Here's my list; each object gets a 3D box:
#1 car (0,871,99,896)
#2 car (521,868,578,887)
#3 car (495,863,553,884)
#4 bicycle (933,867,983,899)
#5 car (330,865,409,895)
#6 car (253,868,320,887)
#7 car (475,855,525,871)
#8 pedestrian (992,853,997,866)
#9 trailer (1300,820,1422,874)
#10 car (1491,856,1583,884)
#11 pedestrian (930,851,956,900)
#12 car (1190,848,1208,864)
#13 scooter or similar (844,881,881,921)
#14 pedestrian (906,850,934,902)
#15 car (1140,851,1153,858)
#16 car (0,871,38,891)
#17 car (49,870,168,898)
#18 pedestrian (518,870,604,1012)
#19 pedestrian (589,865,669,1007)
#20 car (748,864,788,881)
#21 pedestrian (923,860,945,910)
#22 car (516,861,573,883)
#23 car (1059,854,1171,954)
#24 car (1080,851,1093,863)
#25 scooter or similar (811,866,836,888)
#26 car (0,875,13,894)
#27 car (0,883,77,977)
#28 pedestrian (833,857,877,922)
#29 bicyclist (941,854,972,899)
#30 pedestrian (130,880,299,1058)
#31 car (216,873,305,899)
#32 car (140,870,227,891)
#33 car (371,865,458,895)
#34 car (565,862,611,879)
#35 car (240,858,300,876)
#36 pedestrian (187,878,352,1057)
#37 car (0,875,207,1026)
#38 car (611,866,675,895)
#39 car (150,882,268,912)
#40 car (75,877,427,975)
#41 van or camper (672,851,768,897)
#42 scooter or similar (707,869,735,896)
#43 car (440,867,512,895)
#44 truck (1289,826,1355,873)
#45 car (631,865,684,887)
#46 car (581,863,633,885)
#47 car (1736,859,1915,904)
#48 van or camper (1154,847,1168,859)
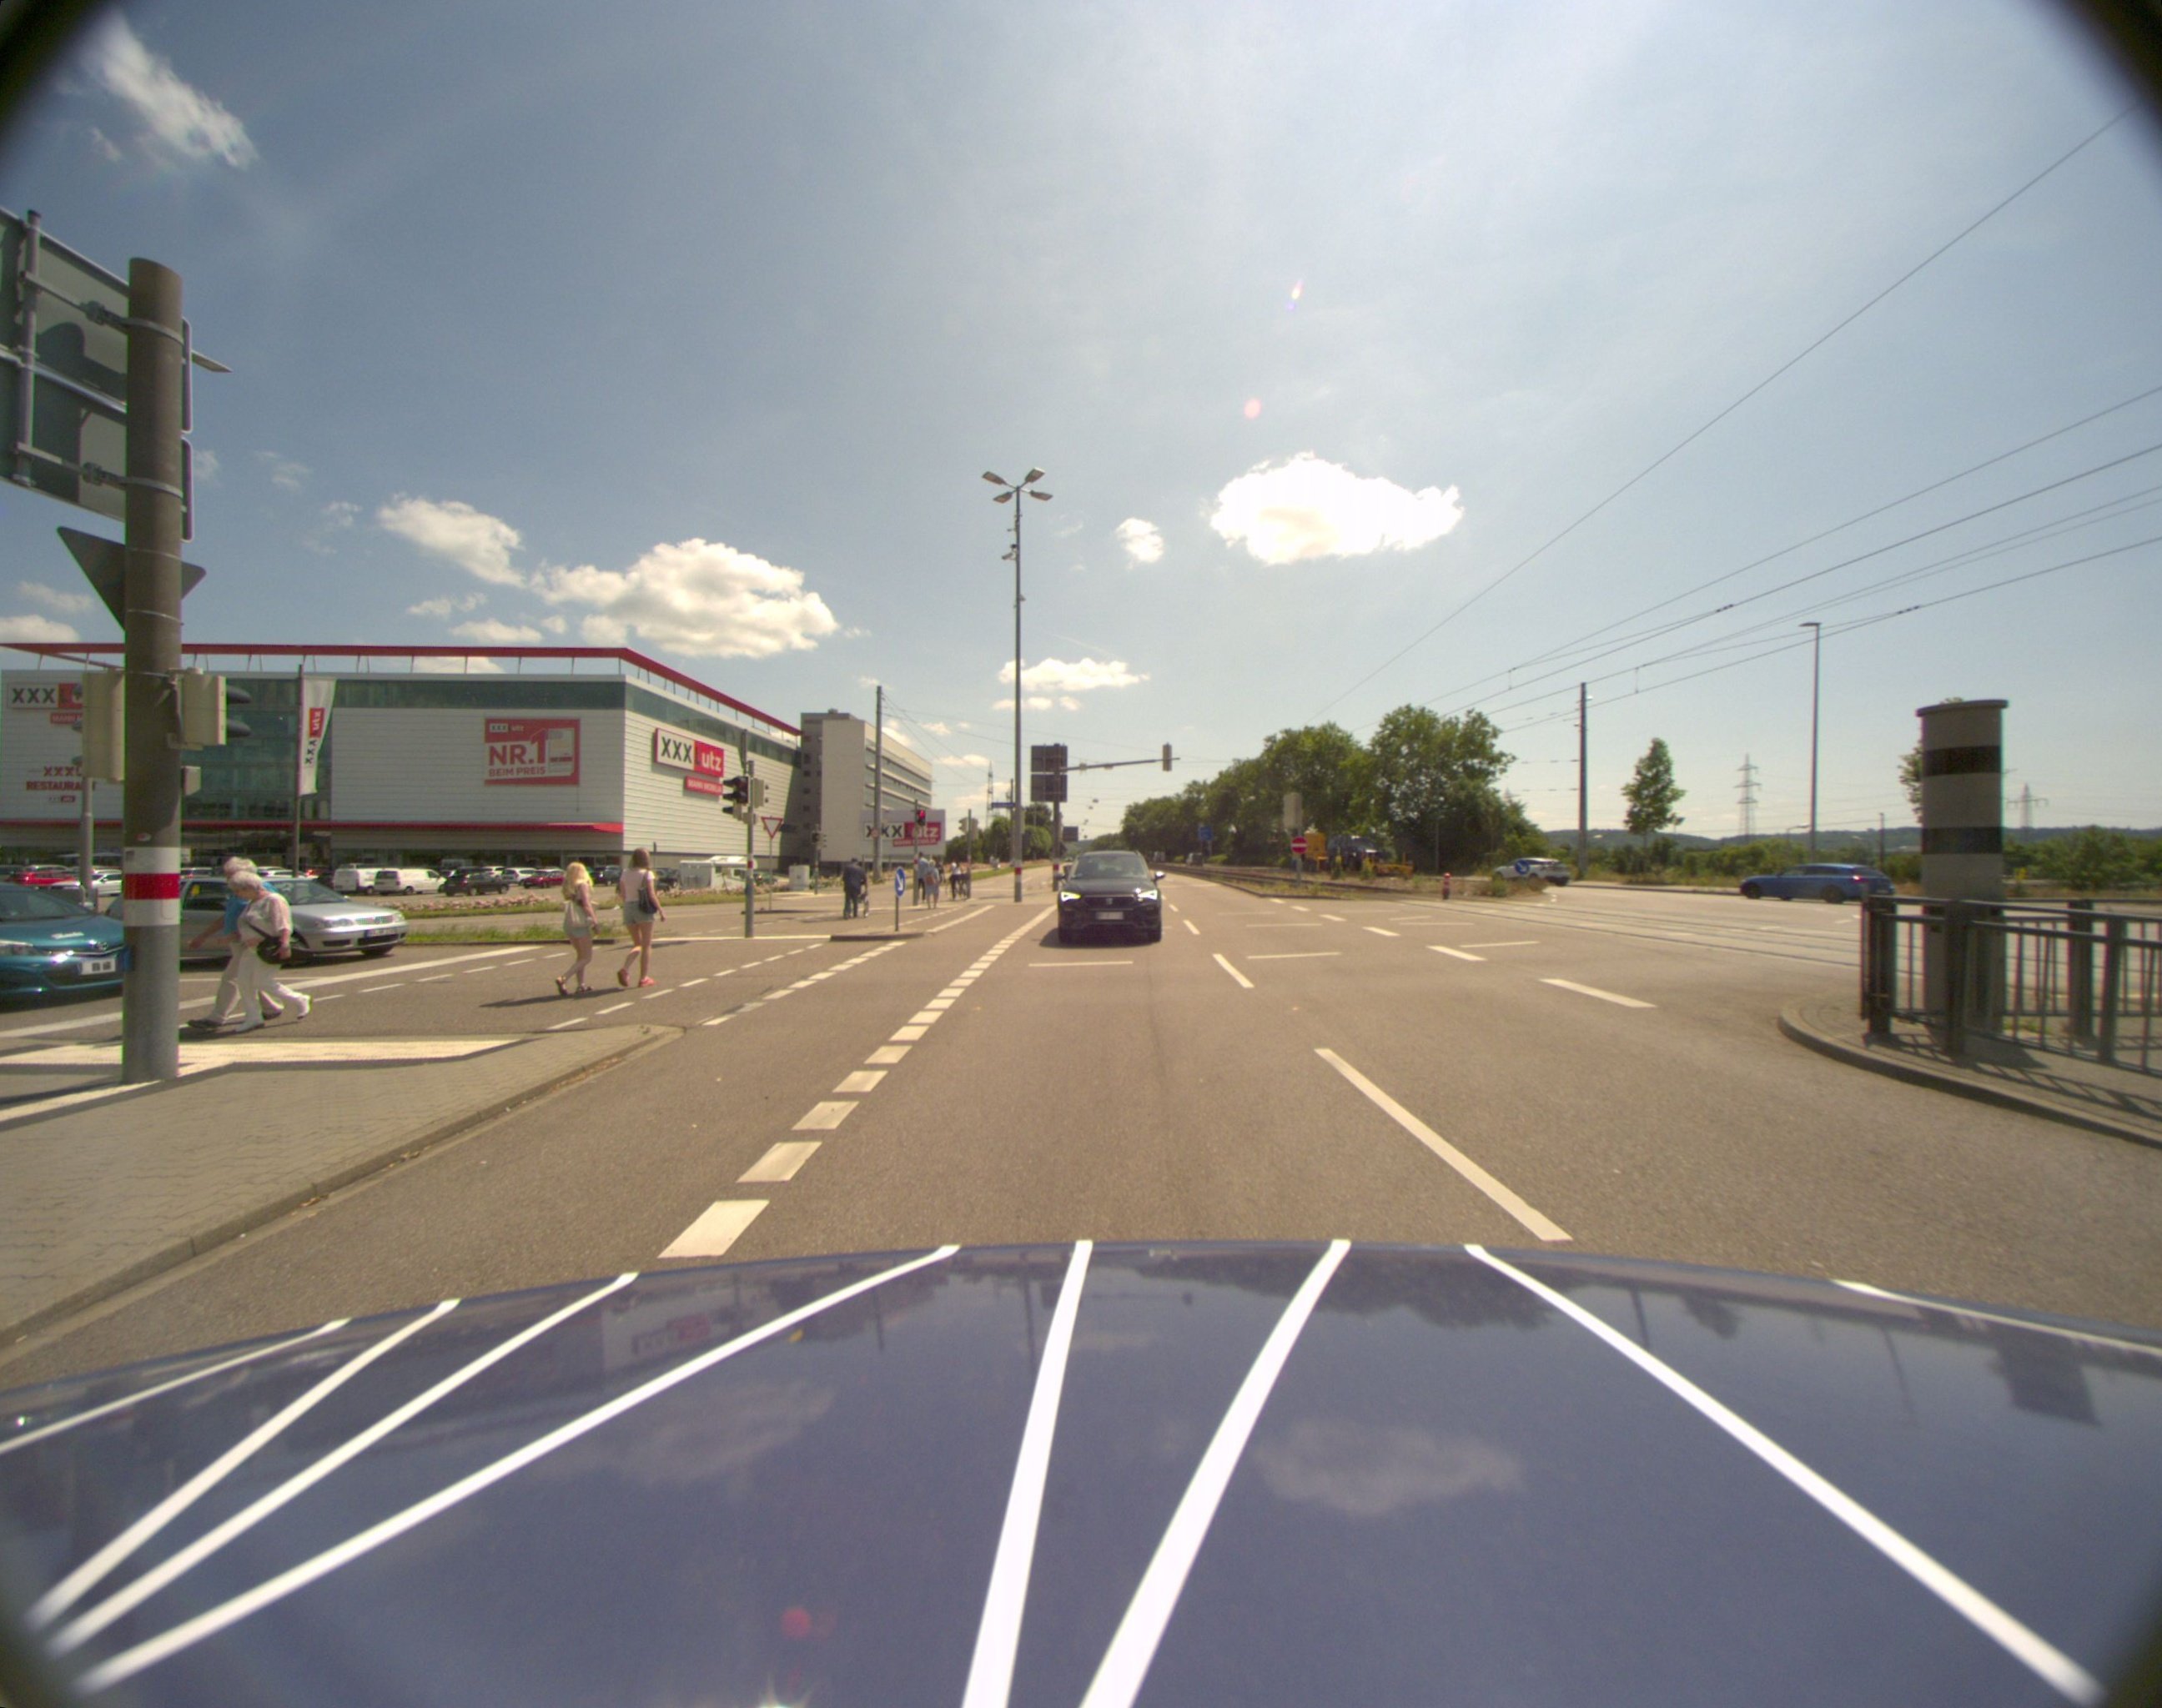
[{"bbox_3d":[-77.277,2.164,56.955,1.853,1.692,4.172,-1,0,3],"label":"car"},{"bbox_3d":[-47.135,2.117,67.492,1.859,1.403,4.259,3,-3,3],"label":"car"},{"bbox_3d":[-52.597,1.817,71.878,1.998,1.724,4.520,-1,0,1],"label":"car"},{"bbox_3d":[-4.685,1.077,28.951,1.873,1.155,0.833,-1,0,40],"label":"bicycle"},{"bbox_3d":[-52.556,1.893,56.243,1.998,2.002,4.000,-2,1,2],"label":"car"},{"bbox_3d":[-69.771,2.055,66.818,1.693,1.518,4.000,-1,0,0],"label":"car"},{"bbox_3d":[-63.618,0.986,83.272,1.999,1.683,4.519,-1,0,-1],"label":"car"},{"bbox_3d":[-11.692,0.778,102.845,0.518,1.783,0.634,-1,0,0],"label":"pedestrian"},{"bbox_3d":[22.492,-0.323,62.741,3.124,3.847,15.479,1,-1,-5],"label":"trailer"},{"bbox_3d":[24.970,0.840,41.800,2.000,1.454,4.275,-1,0,-10],"label":"car"},{"bbox_3d":[-5.105,0.779,28.137,0.807,1.749,0.796,-2,1,-19],"label":"pedestrian"},{"bbox_3d":[16.833,0.316,108.366,1.998,1.826,4.437,2,-4,2],"label":"car"},{"bbox_3d":[-5.953,1.276,20.722,0.691,1.025,0.863,-1,1,3],"label":"scooter or similar"},{"bbox_3d":[-5.951,0.803,28.120,0.805,1.854,0.798,-1,1,3],"label":"pedestrian"},{"bbox_3d":[14.649,0.126,169.695,1.999,1.627,4.263,2,0,-5],"label":"car"},{"bbox_3d":[-82.010,2.075,56.881,1.859,1.404,4.256,-1,0,3],"label":"car"},{"bbox_3d":[-67.446,2.047,52.839,1.852,1.692,4.871,-1,0,4],"label":"car"},{"bbox_3d":[-6.048,0.987,8.856,0.528,1.570,0.612,-1,1,3],"label":"pedestrian"},{"bbox_3d":[-5.487,0.967,9.251,0.528,1.656,0.640,-1,1,3],"label":"pedestrian"},{"bbox_3d":[-29.767,1.726,72.449,1.999,1.554,4.519,-1,0,-1],"label":"car"},{"bbox_3d":[-4.519,0.932,23.357,0.591,1.467,0.805,-2,1,-10],"label":"pedestrian"},{"bbox_3d":[-50.095,1.679,71.022,1.998,1.883,4.520,-1,0,1],"label":"car"},{"bbox_3d":[0.624,0.825,14.477,1.819,1.583,4.000,-1,0,2],"label":"car"},{"bbox_3d":[0.950,0.457,125.038,1.819,1.829,4.001,-1,0,4],"label":"car"},{"bbox_3d":[-14.804,1.309,43.686,0.479,1.120,1.280,-1,4,28],"label":"scooter or similar"},{"bbox_3d":[-84.373,2.410,57.163,1.859,1.404,4.256,-1,0,3],"label":"car"},{"bbox_3d":[-18.731,1.277,11.721,4.228,1.390,1.803,-2,2,4],"label":"car"},{"bbox_3d":[-5.993,0.919,20.209,0.784,1.663,0.947,-1,1,6],"label":"pedestrian"},{"bbox_3d":[-4.717,0.839,28.815,0.797,1.691,0.818,0,0,40],"label":"bicyclist"},{"bbox_3d":[-8.663,1.101,7.630,0.603,1.628,0.864,-1,2,13],"label":"pedestrian"},{"bbox_3d":[-55.470,2.124,51.469,1.854,1.537,3.998,-1,0,-4],"label":"car"},{"bbox_3d":[-69.593,2.039,59.021,1.852,1.430,4.001,-1,0,4],"label":"car"},{"bbox_3d":[-49.887,1.895,57.019,1.998,2.002,4.965,-2,1,2],"label":"car"},{"bbox_3d":[-53.760,1.754,82.924,1.998,1.683,4.520,-1,0,1],"label":"car"},{"bbox_3d":[-89.136,1.402,83.583,1.849,2.002,4.287,-1,0,2],"label":"car"},{"bbox_3d":[-8.044,1.084,7.571,0.607,1.628,0.864,-1,2,13],"label":"pedestrian"},{"bbox_3d":[-13.577,1.105,9.001,3.997,1.546,2.000,-1,1,-1],"label":"car"},{"bbox_3d":[-32.581,1.920,56.699,1.998,2.002,4.454,-1,0,3],"label":"car"},{"bbox_3d":[-47.676,2.341,41.674,1.853,1.368,3.943,-1,0,1],"label":"car"},{"bbox_3d":[-13.244,1.122,12.291,3.832,1.389,1.804,-1,0,3],"label":"car"},{"bbox_3d":[-25.848,1.327,54.929,2.715,2.929,7.615,-2,1,5],"label":"van or camper"},{"bbox_3d":[-17.776,1.391,37.514,0.479,1.283,1.280,-1,1,18],"label":"scooter or similar"},{"bbox_3d":[-45.000,1.989,56.644,1.589,1.901,4.488,-1,0,3],"label":"car"},{"bbox_3d":[21.952,-0.381,69.709,3.135,4.015,7.471,0,0,-5],"label":"truck"},{"bbox_3d":[-37.450,1.950,67.342,1.998,1.707,4.503,-2,1,1],"label":"car"},{"bbox_3d":[-45.054,1.843,72.336,1.998,1.883,4.520,-1,0,1],"label":"car"},{"bbox_3d":[27.083,0.937,27.871,2.000,1.436,4.346,-1,0,-10],"label":"car"},{"bbox_3d":[17.852,-0.261,169.697,2.000,2.571,5.840,1,0,-6],"label":"van or camper"}]
